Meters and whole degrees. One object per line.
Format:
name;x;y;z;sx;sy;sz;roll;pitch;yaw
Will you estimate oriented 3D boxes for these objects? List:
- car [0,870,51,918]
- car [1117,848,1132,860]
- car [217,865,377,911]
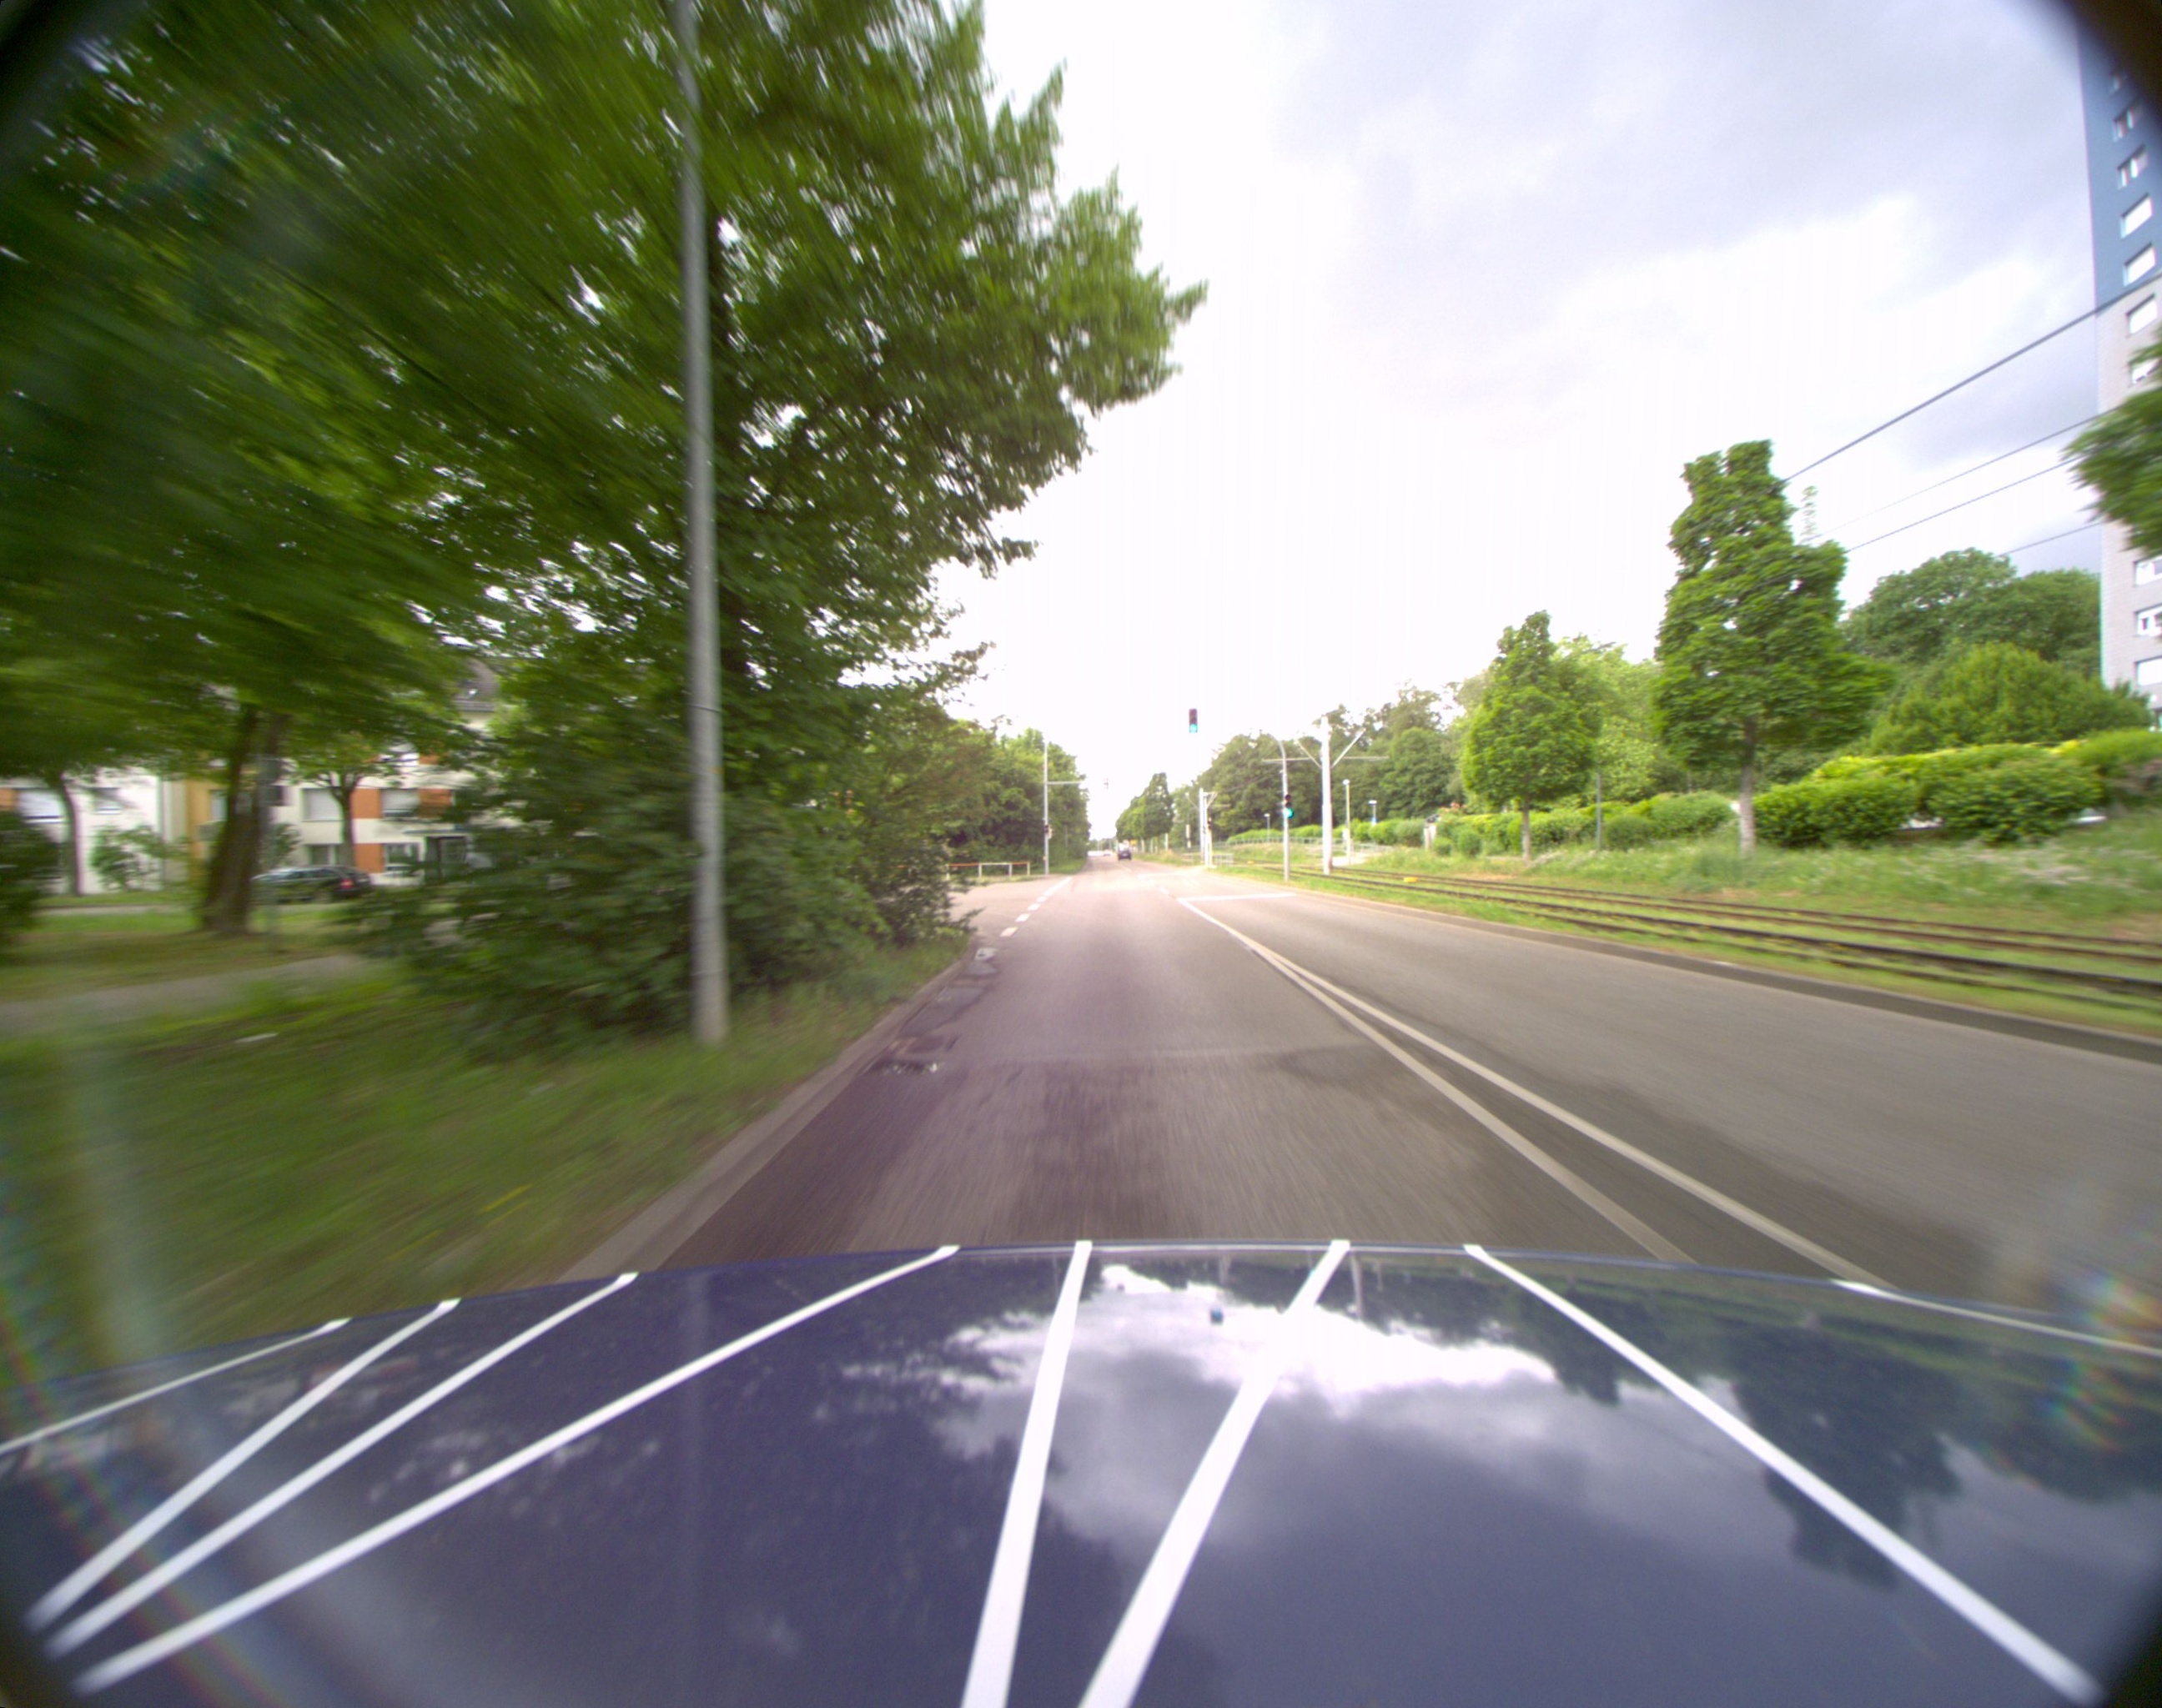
car;-38.632;1.408;25.802;4.003;1.565;1.789;-2;1;-18
car;5.996;-0.021;104.123;1.855;1.462;4.256;-2;0;1
car;-29.090;1.227;28.336;3.776;1.456;1.635;-2;1;-18
